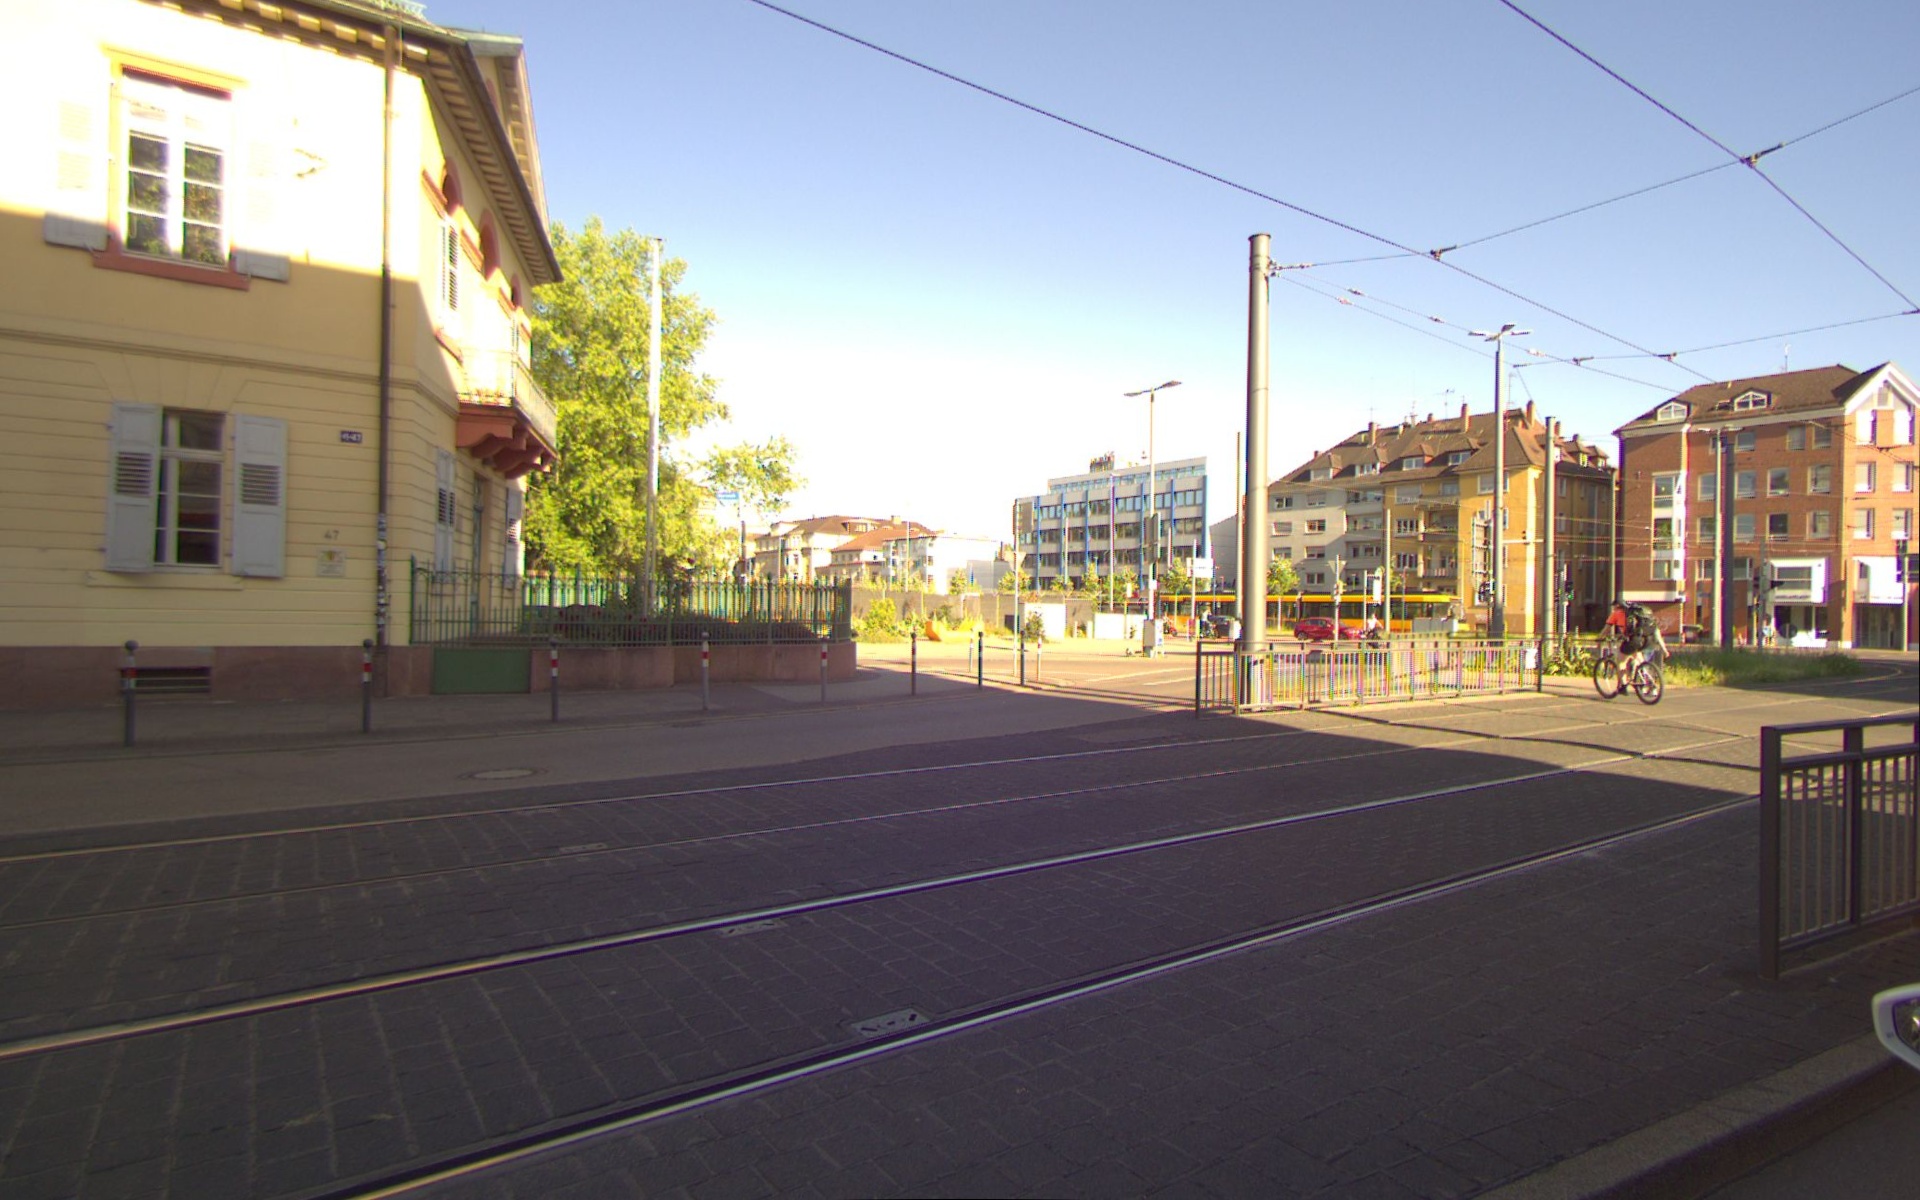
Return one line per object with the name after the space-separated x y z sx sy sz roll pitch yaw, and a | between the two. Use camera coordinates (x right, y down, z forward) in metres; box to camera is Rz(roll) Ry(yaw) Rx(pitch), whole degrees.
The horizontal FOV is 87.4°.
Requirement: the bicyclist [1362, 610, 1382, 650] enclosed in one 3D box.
18.788 1.356 45.810 0.744 1.783 0.753 2 0 20 | bicyclist

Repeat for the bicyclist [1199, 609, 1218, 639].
15.868 1.522 64.099 0.785 1.832 0.892 2 0 -43 | bicyclist

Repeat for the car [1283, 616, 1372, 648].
21.872 1.878 59.893 1.984 1.723 4.545 2 0 -41 | car

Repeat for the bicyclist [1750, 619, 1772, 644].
50.374 1.977 63.158 0.958 1.490 0.702 1 0 -22 | bicyclist

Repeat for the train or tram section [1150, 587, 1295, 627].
22.599 0.501 87.830 2.708 3.172 13.572 2 0 -37 | train or tram section

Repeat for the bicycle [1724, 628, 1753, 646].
45.591 2.163 58.831 2.220 0.984 0.521 2 0 -31 | bicycle

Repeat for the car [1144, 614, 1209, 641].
14.748 1.863 68.567 1.895 1.708 3.916 2 0 -41 | car

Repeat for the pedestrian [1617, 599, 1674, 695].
12.505 0.844 18.323 0.767 1.703 0.586 2 0 -35 | pedestrian

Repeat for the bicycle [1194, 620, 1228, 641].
15.982 1.938 63.947 0.542 1.230 2.168 2 0 -41 | bicycle

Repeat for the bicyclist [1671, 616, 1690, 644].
39.683 1.640 55.323 0.688 1.523 0.630 2 0 -30 | bicyclist

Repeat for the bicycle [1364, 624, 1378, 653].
18.685 1.748 45.672 0.476 1.238 1.855 2 0 20 | bicycle

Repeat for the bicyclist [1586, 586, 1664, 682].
11.020 0.546 16.664 0.385 1.542 1.040 2 0 -17 | bicyclist

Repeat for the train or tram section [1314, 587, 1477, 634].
32.274 0.730 75.069 2.783 3.172 11.135 2 0 -40 | train or tram section

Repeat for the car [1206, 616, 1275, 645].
18.007 1.934 64.575 1.762 1.694 3.955 2 0 -39 | car

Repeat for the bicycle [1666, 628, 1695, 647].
39.698 2.057 55.340 2.220 0.984 0.444 2 0 -31 | bicycle

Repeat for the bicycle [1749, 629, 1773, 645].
50.352 2.332 63.159 1.669 0.994 0.403 2 0 -22 | bicycle

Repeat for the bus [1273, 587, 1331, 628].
27.540 0.616 80.891 2.746 3.172 3.490 2 0 -37 | bus

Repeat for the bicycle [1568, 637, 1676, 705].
10.989 1.157 16.728 0.397 1.007 1.596 2 0 -17 | bicycle

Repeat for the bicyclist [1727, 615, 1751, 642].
45.575 1.652 58.802 0.688 1.523 0.894 2 0 -30 | bicyclist
